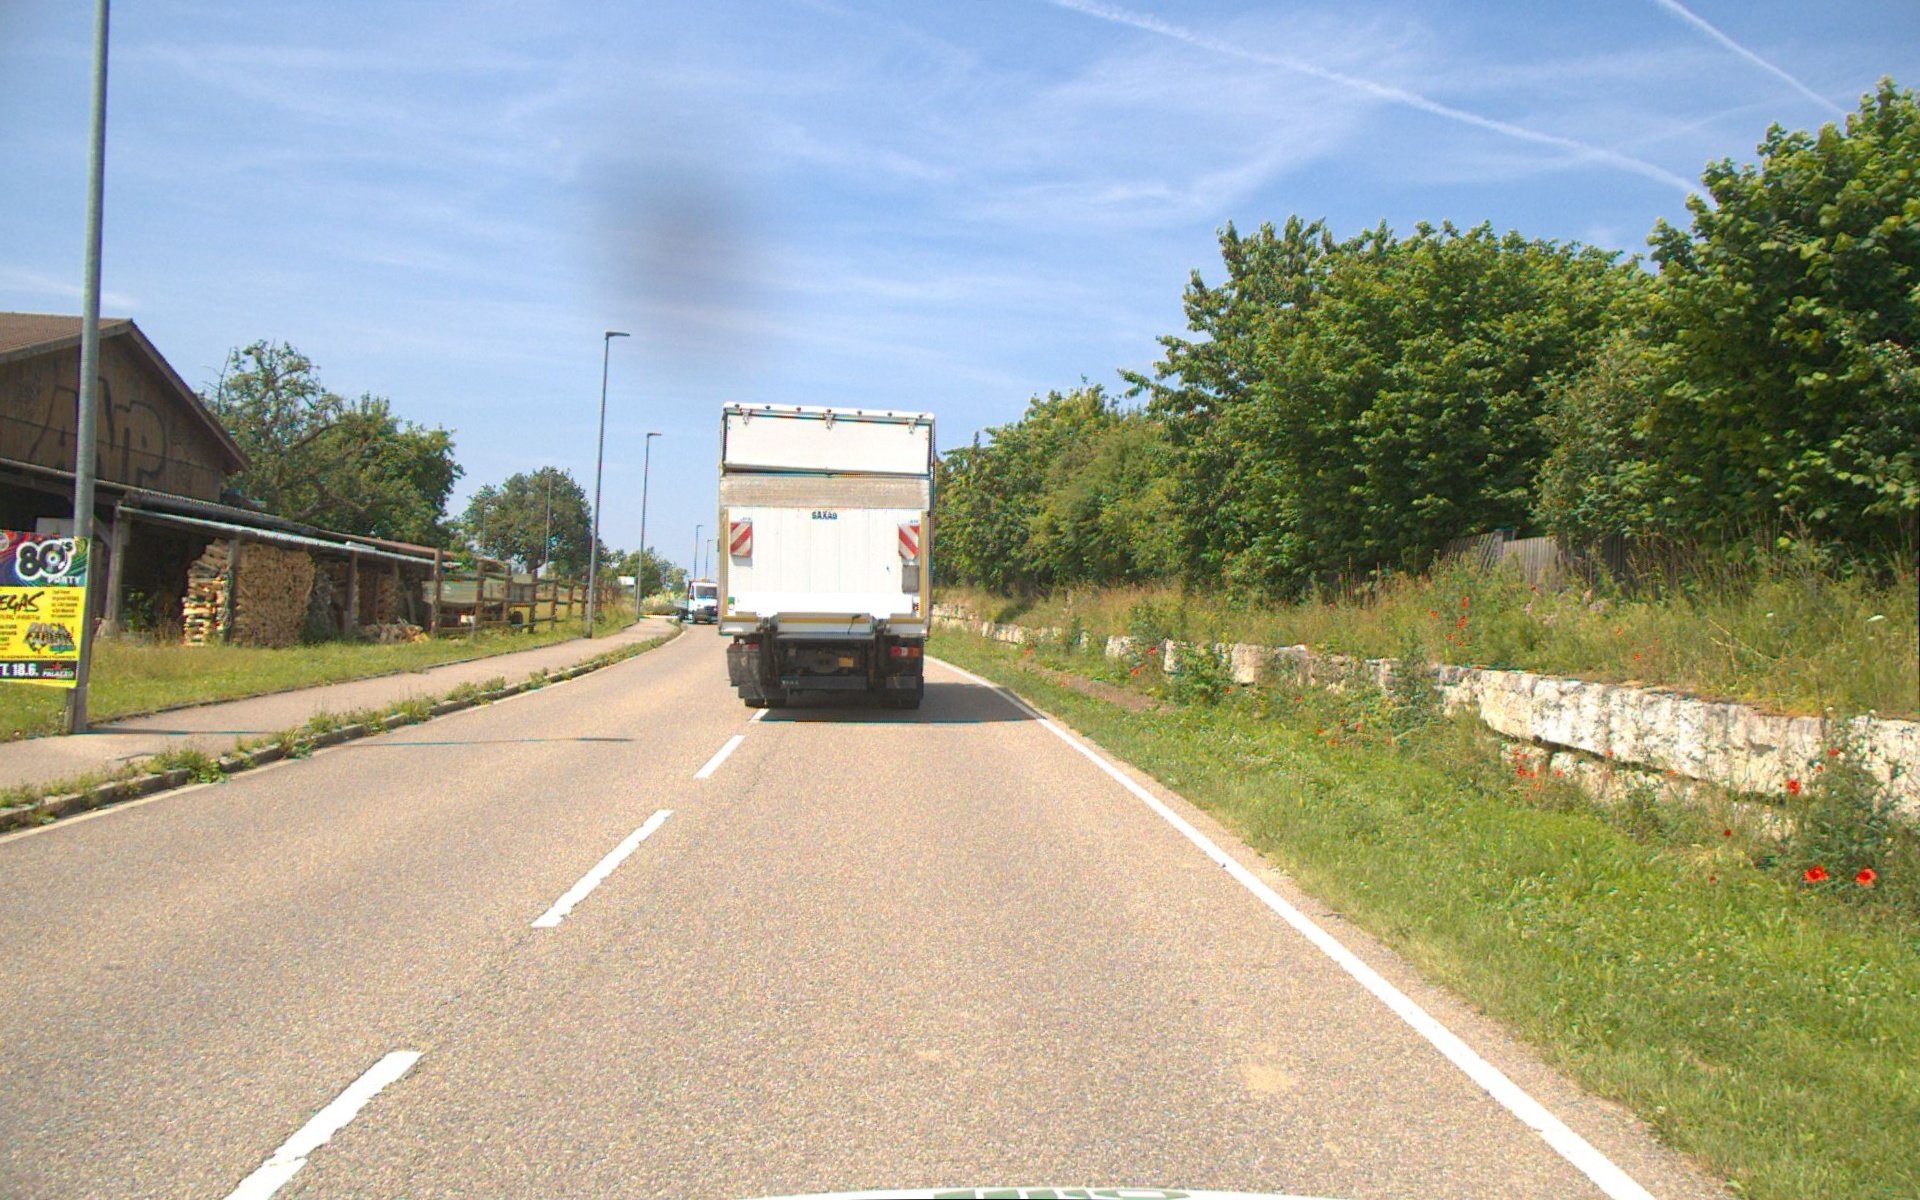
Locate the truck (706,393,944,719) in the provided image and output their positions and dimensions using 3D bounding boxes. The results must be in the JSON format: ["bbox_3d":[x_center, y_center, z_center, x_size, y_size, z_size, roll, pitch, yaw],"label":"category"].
[{"bbox_3d":[-1.754,-0.496,23.868,2.711,3.735,9.378,1,0,-2],"label":"truck"}]

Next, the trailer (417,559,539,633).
[{"bbox_3d":[-12.273,-0.094,42.463,2.113,1.733,5.022,1,0,-6],"label":"trailer"}]

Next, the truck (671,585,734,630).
[{"bbox_3d":[-14.347,0.393,91.860,2.189,2.333,6.454,2,0,-20],"label":"truck"}]
